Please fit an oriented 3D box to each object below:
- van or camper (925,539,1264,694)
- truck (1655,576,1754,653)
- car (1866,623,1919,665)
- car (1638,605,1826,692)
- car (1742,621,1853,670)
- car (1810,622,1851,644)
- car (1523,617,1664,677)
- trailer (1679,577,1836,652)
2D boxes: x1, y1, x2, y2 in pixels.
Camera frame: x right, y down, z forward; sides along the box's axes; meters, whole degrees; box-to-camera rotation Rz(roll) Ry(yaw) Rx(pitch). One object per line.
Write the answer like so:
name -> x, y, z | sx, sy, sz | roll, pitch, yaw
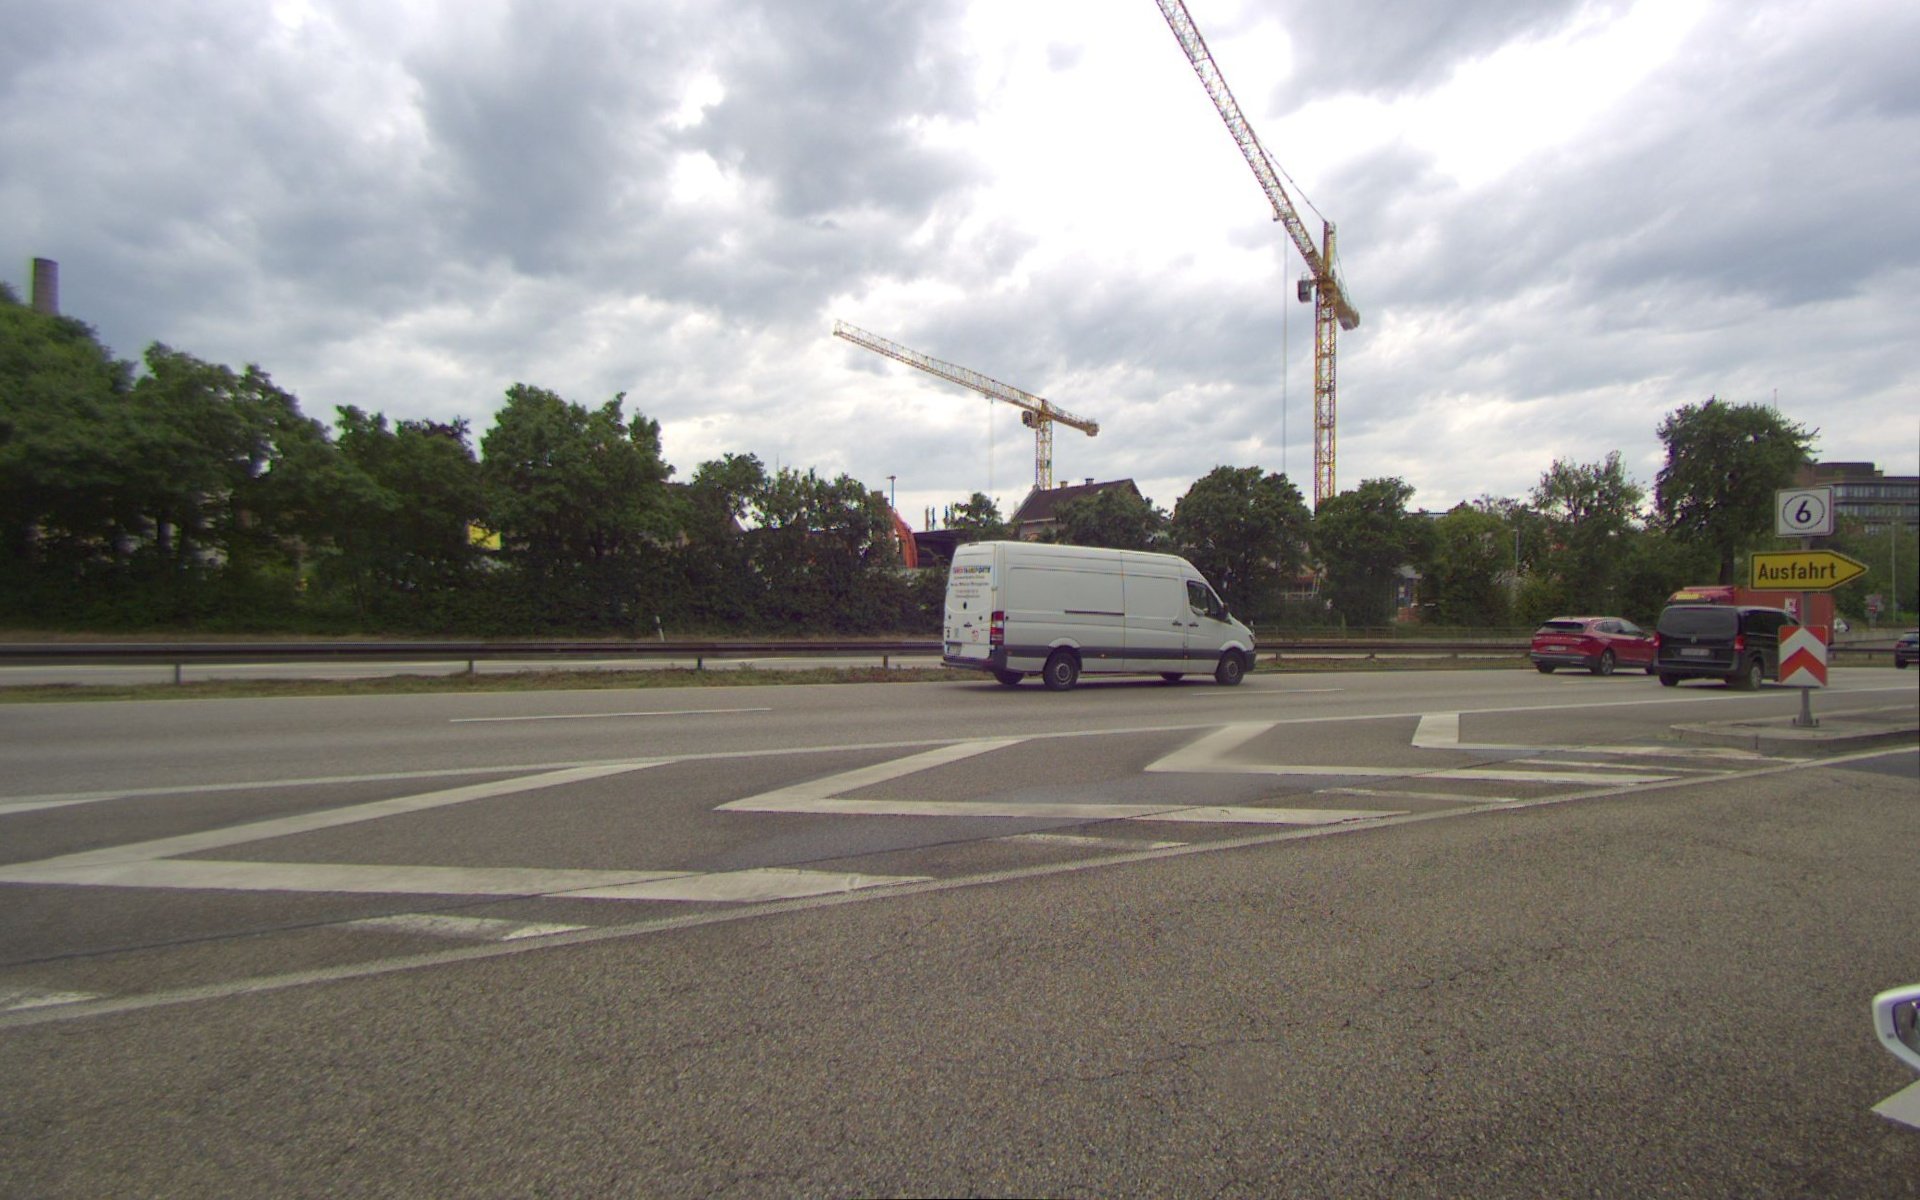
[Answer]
van or camper -> 2.802, 0.358, 19.801 | 6.876, 2.656, 2.039 | 1, -1, -31
truck -> 41.695, 0.824, 56.262 | 4.849, 4.118, 2.750 | 1, -1, -30
car -> 40.826, 1.869, 43.034 | 4.257, 1.704, 1.880 | 1, -1, -31
car -> 18.430, 1.112, 23.928 | 4.758, 1.876, 1.983 | 1, 0, -32
car -> 30.318, 1.634, 36.353 | 4.216, 1.657, 1.743 | 1, 0, -30
car -> 74.896, 2.855, 86.413 | 3.388, 1.840, 1.676 | 1, -1, -30
car -> 18.023, 1.298, 28.567 | 3.896, 1.588, 1.759 | 1, -1, -29
trailer -> 47.613, 0.955, 59.758 | 13.196, 4.118, 2.751 | 1, -1, -30
